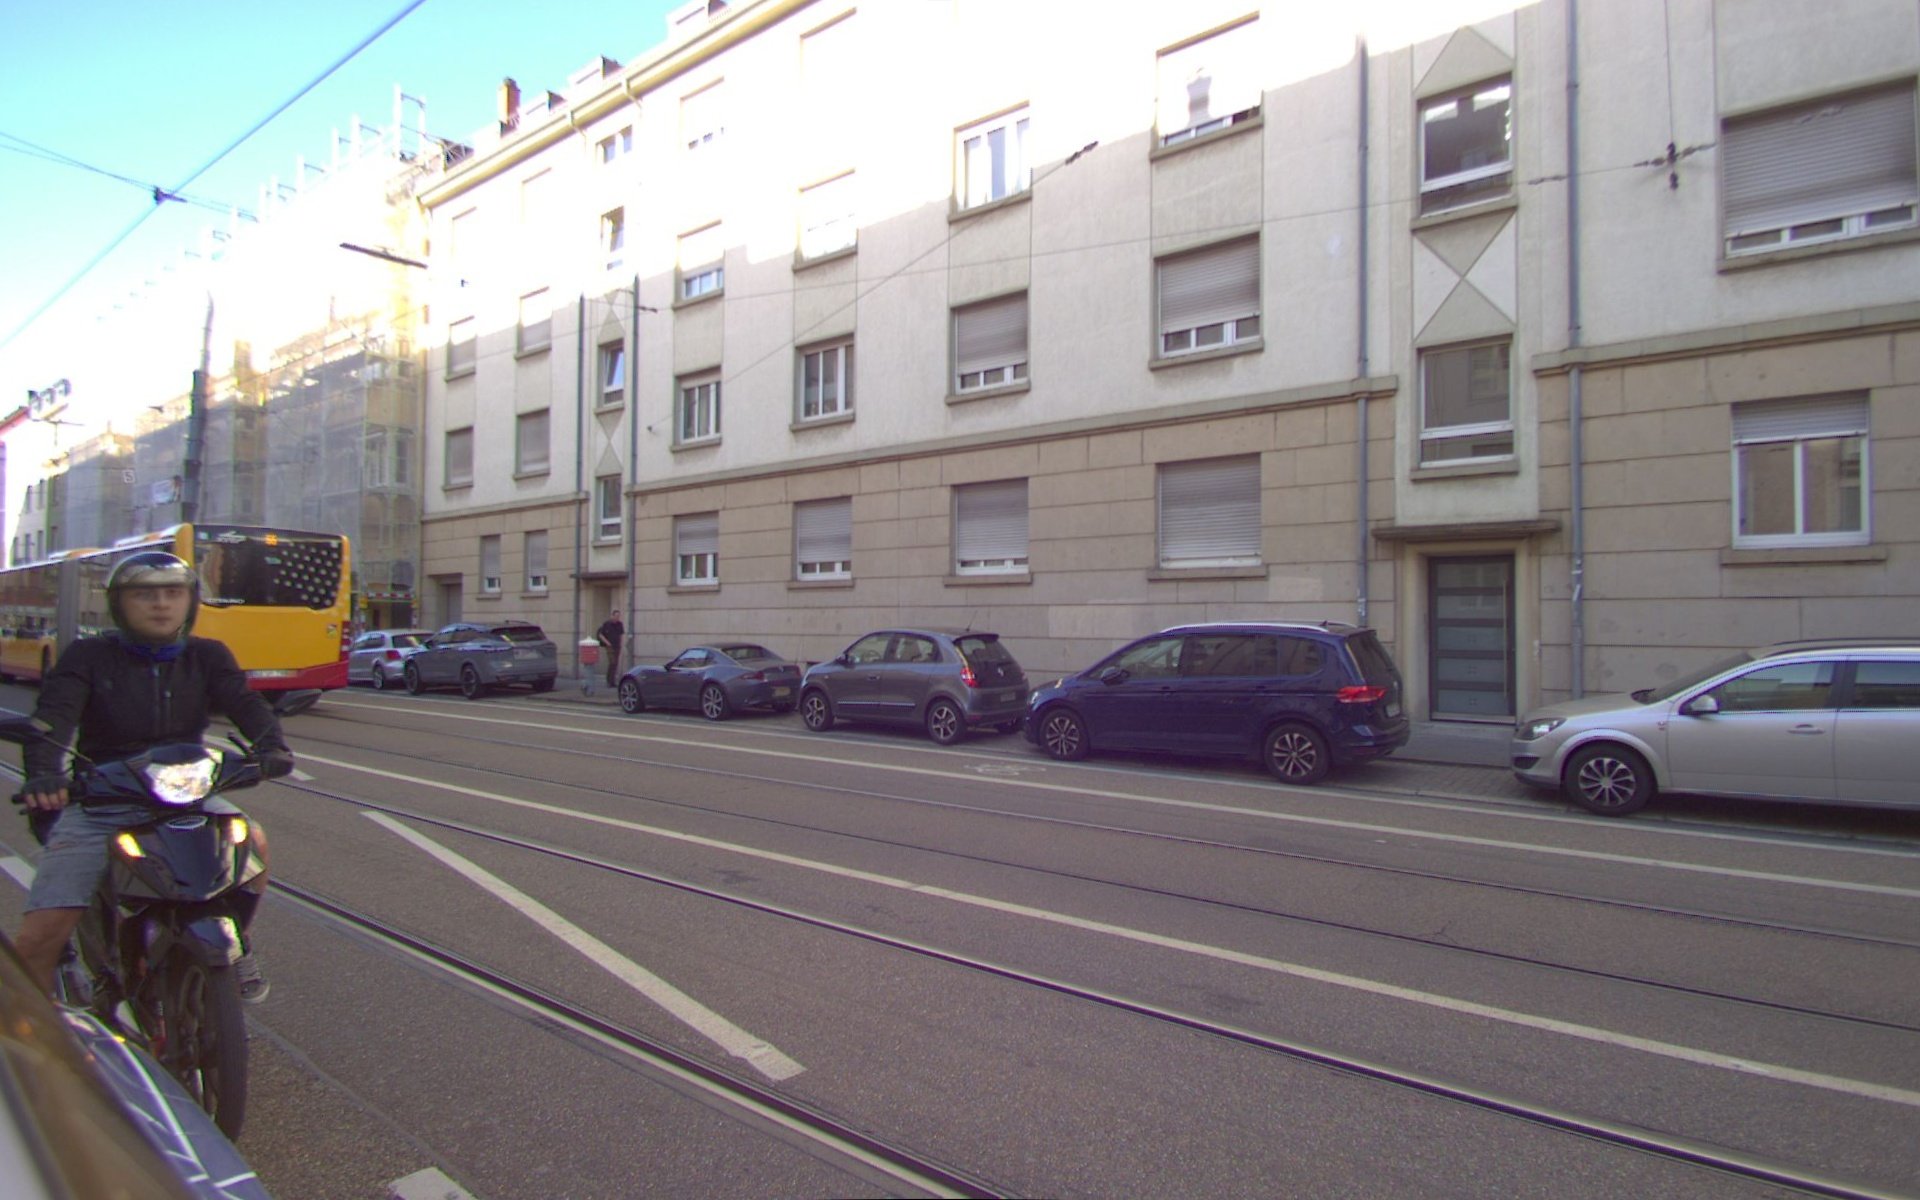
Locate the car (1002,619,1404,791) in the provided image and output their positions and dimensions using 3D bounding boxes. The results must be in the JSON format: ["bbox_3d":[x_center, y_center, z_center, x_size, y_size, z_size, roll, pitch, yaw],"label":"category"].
[{"bbox_3d":[2.707,1.054,11.751,4.235,1.627,1.684,0,0,36],"label":"car"}]

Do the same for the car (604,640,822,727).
[{"bbox_3d":[-4.333,1.373,17.561,3.779,1.225,1.684,0,0,37],"label":"car"}]

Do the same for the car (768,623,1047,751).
[{"bbox_3d":[-0.847,1.151,14.848,3.995,1.581,1.683,-1,0,39],"label":"car"}]

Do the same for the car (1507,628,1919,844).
[{"bbox_3d":[7.157,1.036,8.426,4.380,1.521,1.683,-1,0,38],"label":"car"}]

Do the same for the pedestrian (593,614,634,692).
[{"bbox_3d":[-7.767,1.179,22.671,0.716,1.707,0.575,-1,-1,38],"label":"pedestrian"}]

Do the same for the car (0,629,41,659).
[{"bbox_3d":[-50.084,2.297,53.354,3.995,1.523,1.729,-1,-3,39],"label":"car"}]

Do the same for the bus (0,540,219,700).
[{"bbox_3d":[-21.092,0.525,24.283,10.182,3.182,2.696,-1,-3,39],"label":"bus"}]

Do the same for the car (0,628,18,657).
[{"bbox_3d":[-54.820,2.415,57.128,4.216,1.590,1.682,-1,-1,37],"label":"car"}]

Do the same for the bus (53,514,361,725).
[{"bbox_3d":[-14.152,0.404,18.765,7.569,3.186,2.711,-1,-3,39],"label":"bus"}]

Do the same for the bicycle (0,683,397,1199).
[{"bbox_3d":[-2.586,0.893,3.134,1.971,1.186,0.731,-1,-3,38],"label":"bicycle"}]

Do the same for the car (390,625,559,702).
[{"bbox_3d":[-10.972,1.367,22.754,4.400,1.580,1.683,-1,-3,39],"label":"car"}]

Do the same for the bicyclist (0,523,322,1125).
[{"bbox_3d":[-2.646,0.600,3.162,0.849,1.566,0.833,-1,-3,38],"label":"bicyclist"}]

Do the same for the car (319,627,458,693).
[{"bbox_3d":[-14.550,1.467,25.688,3.995,1.426,1.683,0,1,39],"label":"car"}]
